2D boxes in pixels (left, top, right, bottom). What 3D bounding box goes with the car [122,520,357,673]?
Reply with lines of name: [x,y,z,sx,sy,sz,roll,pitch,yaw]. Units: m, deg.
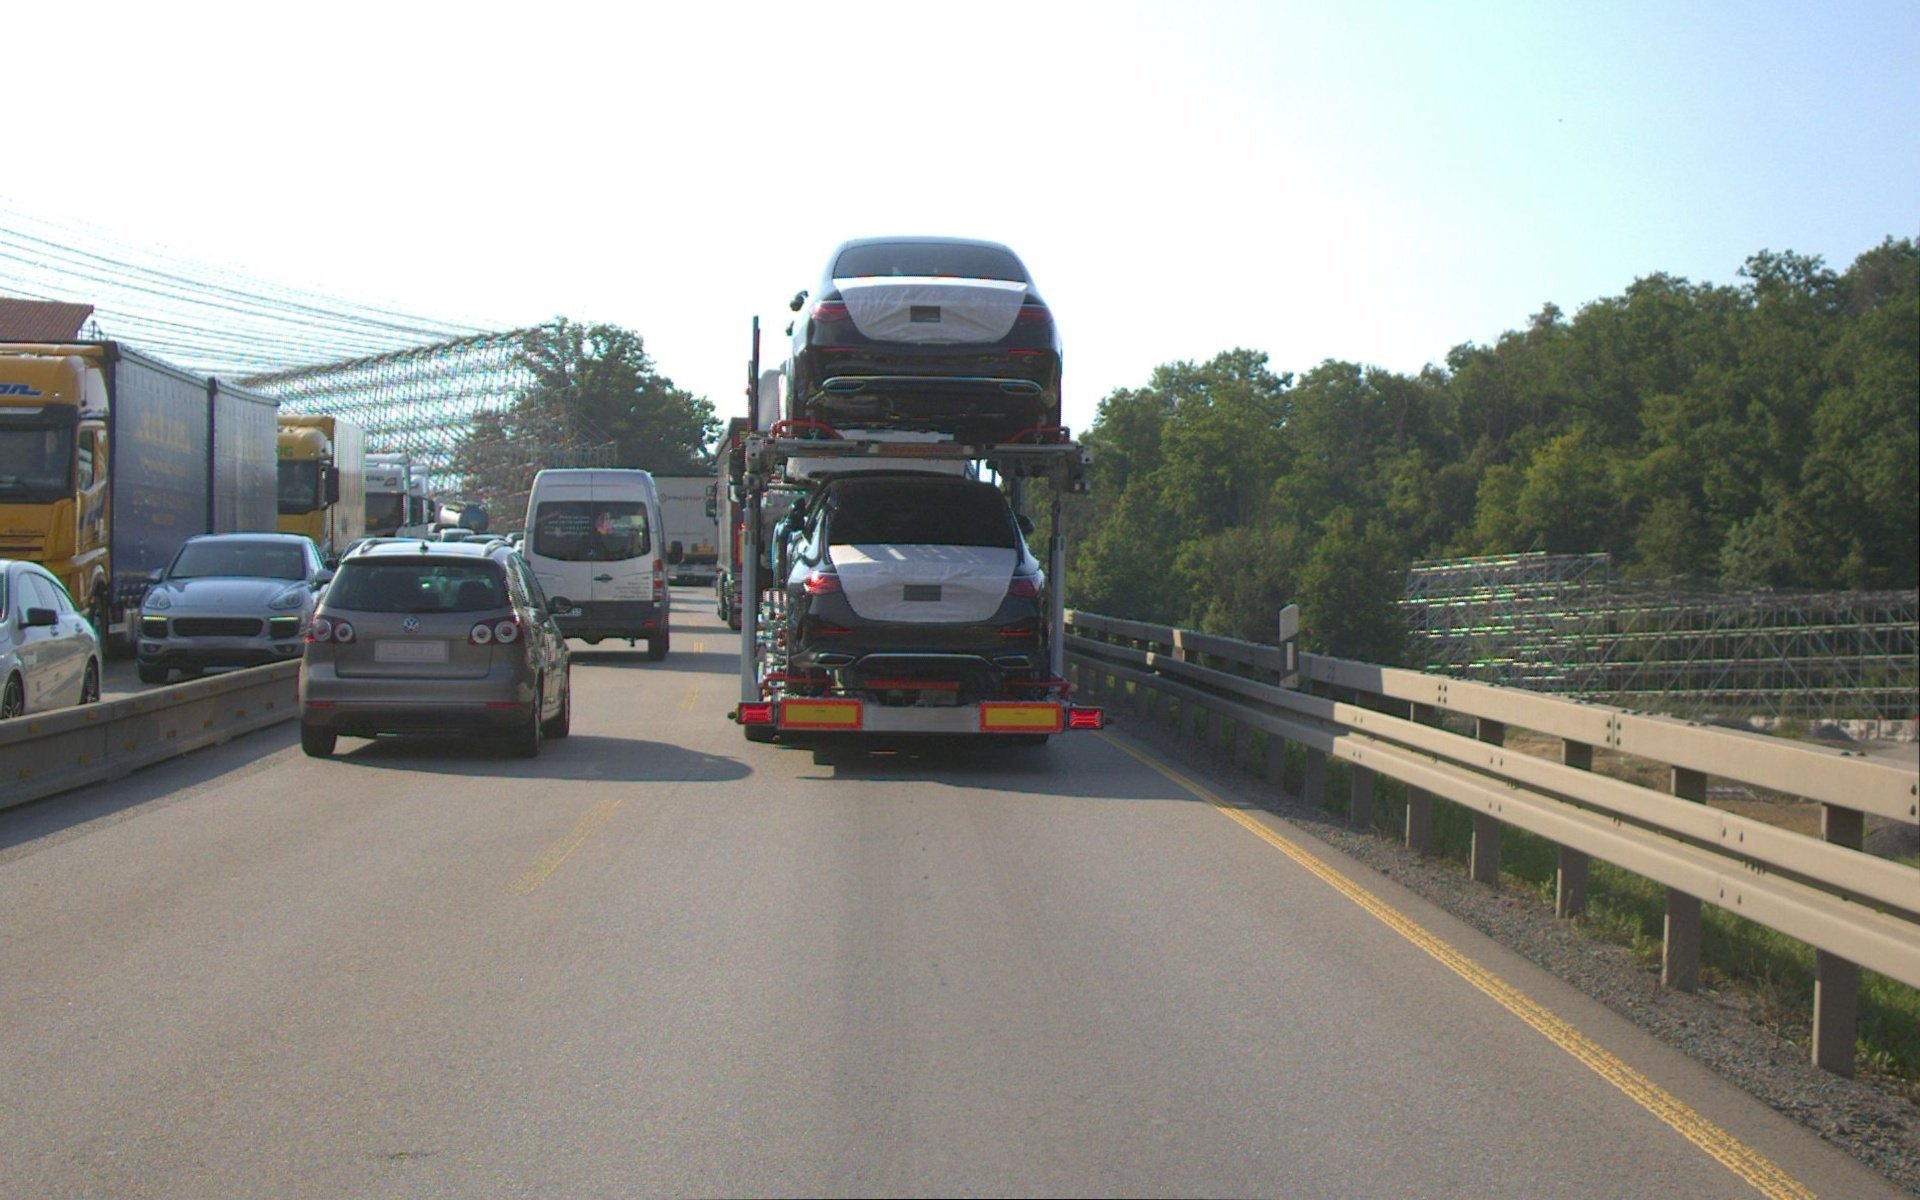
car: [-8.210,-0.034,39.581,1.959,1.639,4.849,0,0,-3]

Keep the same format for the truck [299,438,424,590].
truck: [-17.009,-2.302,98.452,2.808,3.956,13.896,1,0,-7]

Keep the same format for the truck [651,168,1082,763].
truck: [-0.709,-0.897,25.911,2.869,3.966,5.772,0,0,-2]

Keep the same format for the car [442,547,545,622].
car: [-9.686,-0.309,71.685,1.788,1.492,4.725,0,0,-4]

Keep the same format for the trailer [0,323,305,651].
trailer: [-12.242,-1.422,51.625,2.714,4.120,16.754,0,0,-4]

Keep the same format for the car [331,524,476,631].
car: [-9.199,-0.358,57.141,1.927,1.696,4.692,0,0,-4]

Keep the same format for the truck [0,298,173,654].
truck: [-11.611,-1.438,42.687,2.701,4.126,5.795,0,0,-4]

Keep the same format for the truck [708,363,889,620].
truck: [-3.394,-2.137,69.070,3.227,4.661,11.697,1,1,-4]

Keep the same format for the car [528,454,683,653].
car: [-4.950,-0.624,48.471,1.979,2.675,4.147,0,0,-3]

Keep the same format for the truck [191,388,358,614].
truck: [-13.142,-1.837,66.175,2.693,4.183,4.399,0,0,-5]

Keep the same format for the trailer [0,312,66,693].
trailer: [-10.740,-0.920,29.185,2.748,3.803,16.048,-1,0,-2]

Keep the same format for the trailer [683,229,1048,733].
trailer: [-0.973,-0.936,34.931,2.874,3.980,15.280,0,0,-2]

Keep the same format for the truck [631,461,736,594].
truck: [-10.354,-2.733,128.112,3.647,4.661,11.698,1,1,-5]

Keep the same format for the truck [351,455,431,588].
truck: [-18.907,-2.560,114.448,2.443,4.257,6.323,0,0,-8]

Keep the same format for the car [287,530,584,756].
car: [-3.927,0.306,26.324,1.700,1.581,4.147,0,0,-1]

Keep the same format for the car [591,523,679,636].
car: [-6.188,-0.379,65.632,1.528,2.007,4.001,3,0,-5]

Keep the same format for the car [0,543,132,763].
car: [-7.545,0.370,25.324,1.803,1.516,4.817,-1,0,-1]
